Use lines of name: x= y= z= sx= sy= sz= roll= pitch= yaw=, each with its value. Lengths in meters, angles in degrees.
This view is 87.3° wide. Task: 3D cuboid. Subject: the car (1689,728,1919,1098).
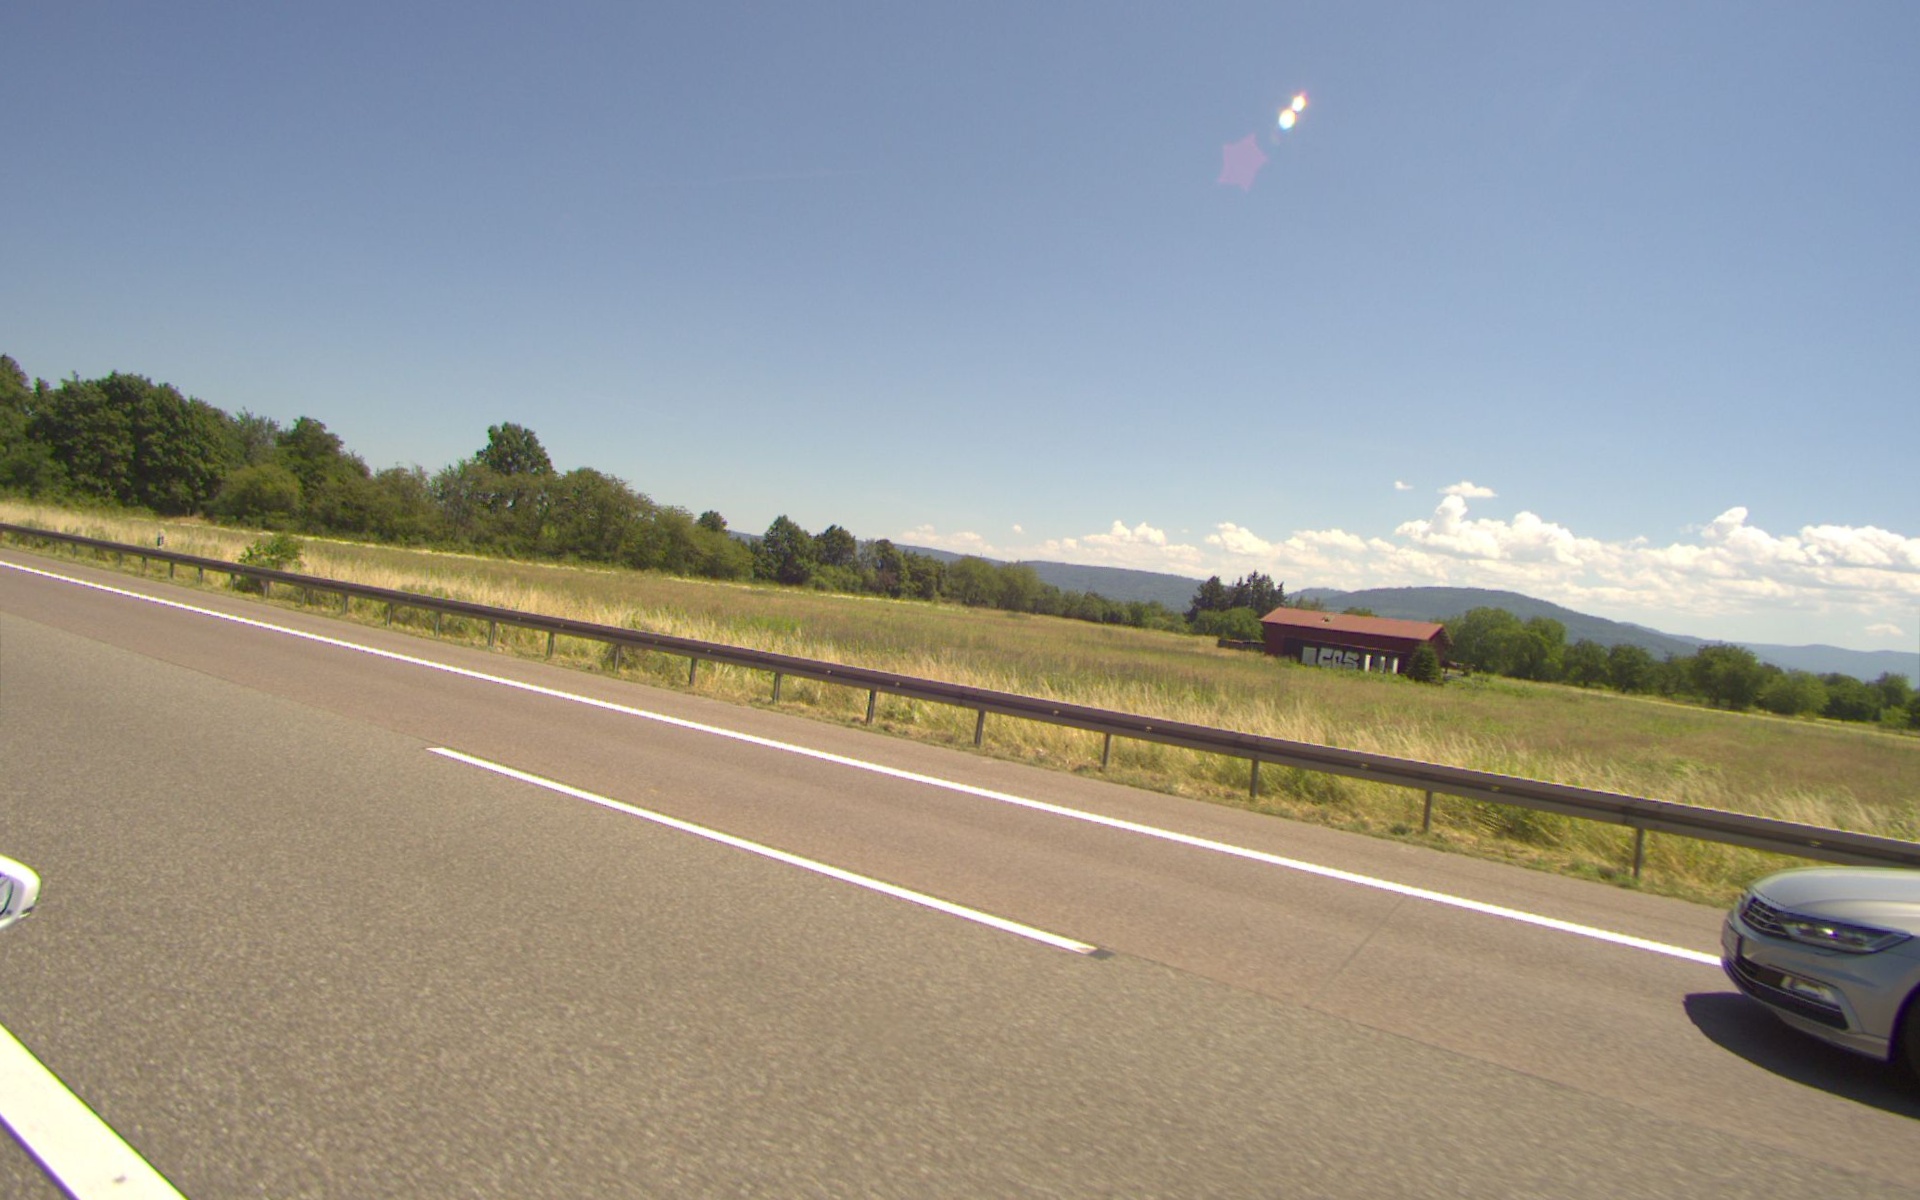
car: x=6.480 y=1.737 z=4.196 sx=5.291 sy=1.532 sz=1.891 roll=7 pitch=-2 yaw=32

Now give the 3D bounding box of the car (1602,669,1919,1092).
car: x=6.176 y=1.560 z=4.366 sx=5.415 sy=1.678 sz=2.048 roll=8 pitch=0 yaw=30
